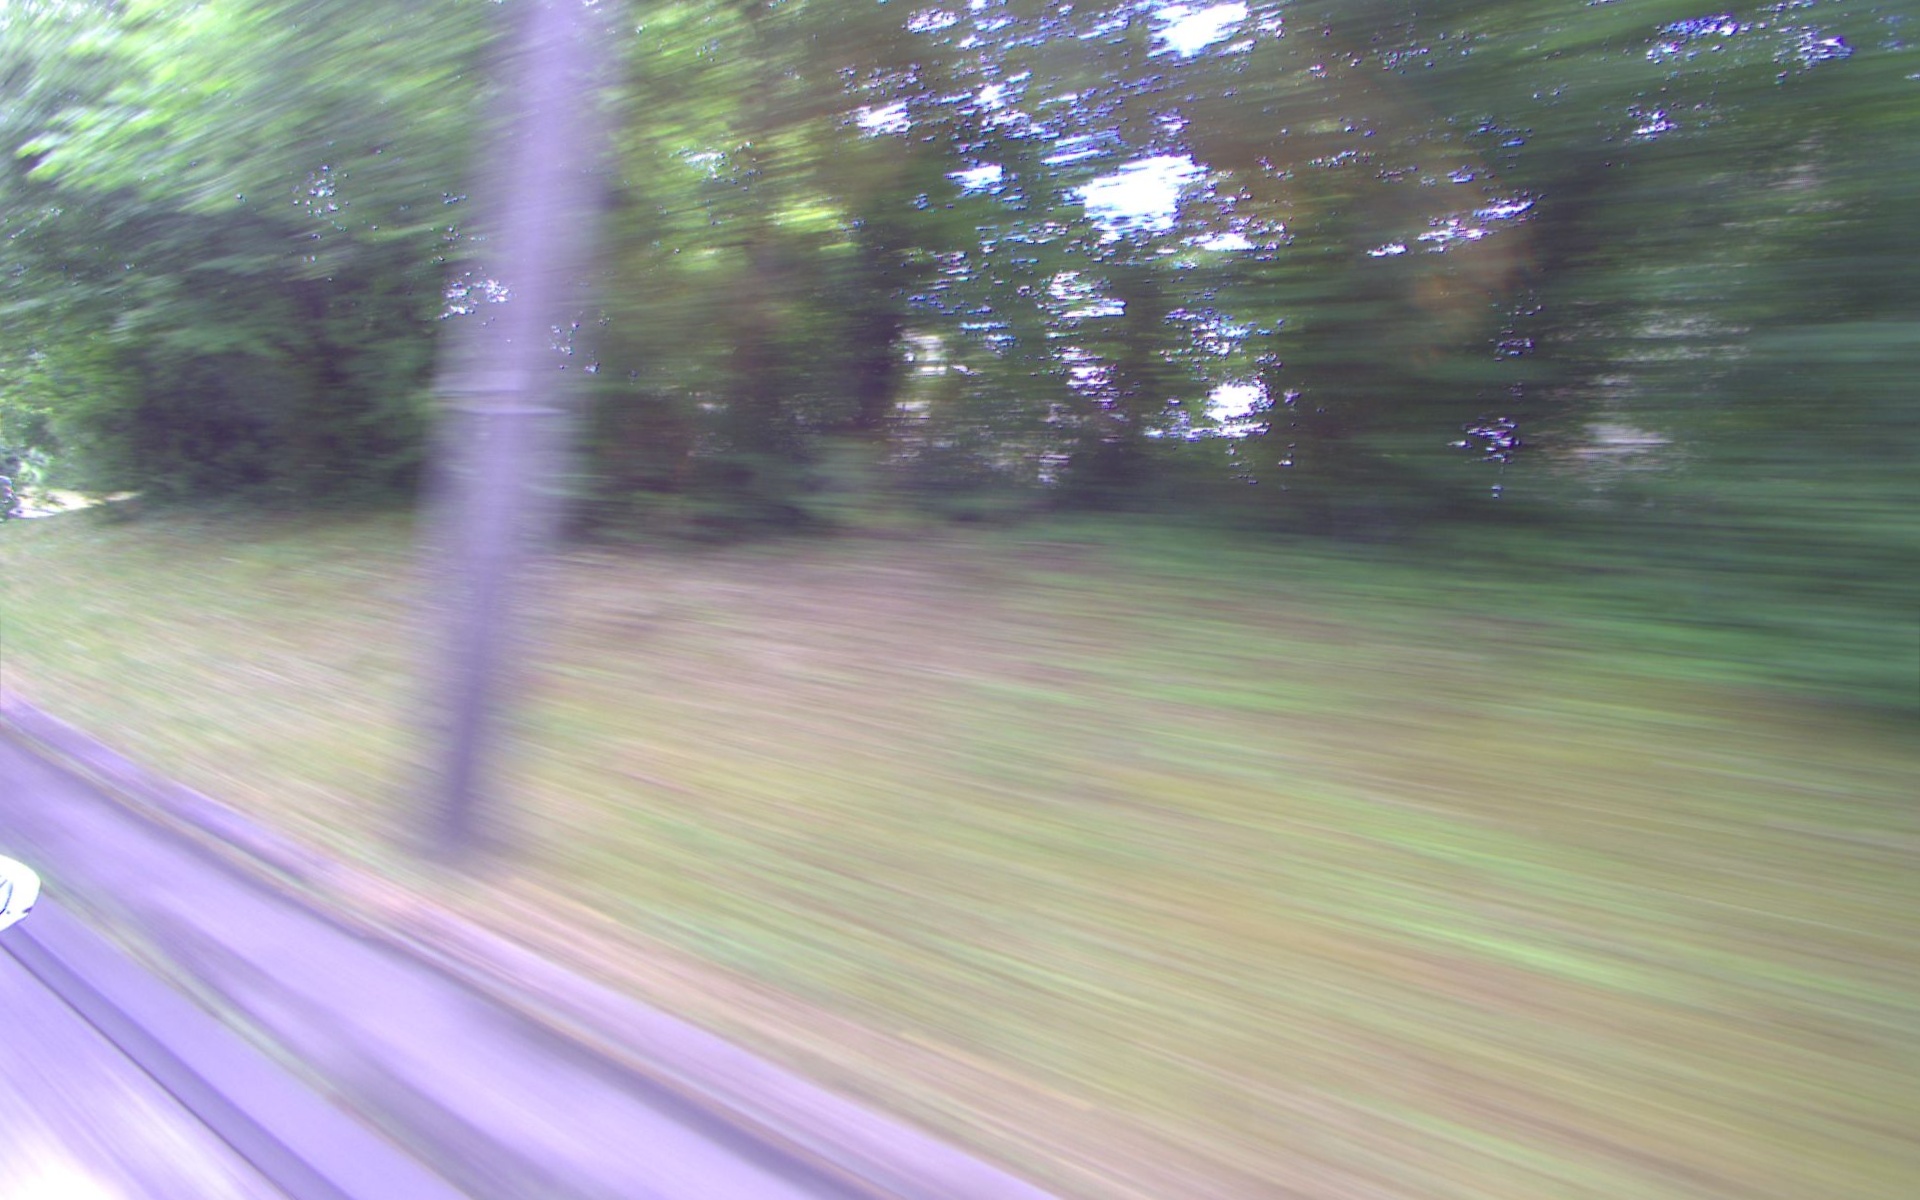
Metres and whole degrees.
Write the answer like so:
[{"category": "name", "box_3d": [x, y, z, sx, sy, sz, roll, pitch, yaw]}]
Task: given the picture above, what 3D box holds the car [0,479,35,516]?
[{"category": "car", "box_3d": [-45.672, -5.041, 47.049, 3.295, 1.511, 1.649, 12, -2, -40]}]
